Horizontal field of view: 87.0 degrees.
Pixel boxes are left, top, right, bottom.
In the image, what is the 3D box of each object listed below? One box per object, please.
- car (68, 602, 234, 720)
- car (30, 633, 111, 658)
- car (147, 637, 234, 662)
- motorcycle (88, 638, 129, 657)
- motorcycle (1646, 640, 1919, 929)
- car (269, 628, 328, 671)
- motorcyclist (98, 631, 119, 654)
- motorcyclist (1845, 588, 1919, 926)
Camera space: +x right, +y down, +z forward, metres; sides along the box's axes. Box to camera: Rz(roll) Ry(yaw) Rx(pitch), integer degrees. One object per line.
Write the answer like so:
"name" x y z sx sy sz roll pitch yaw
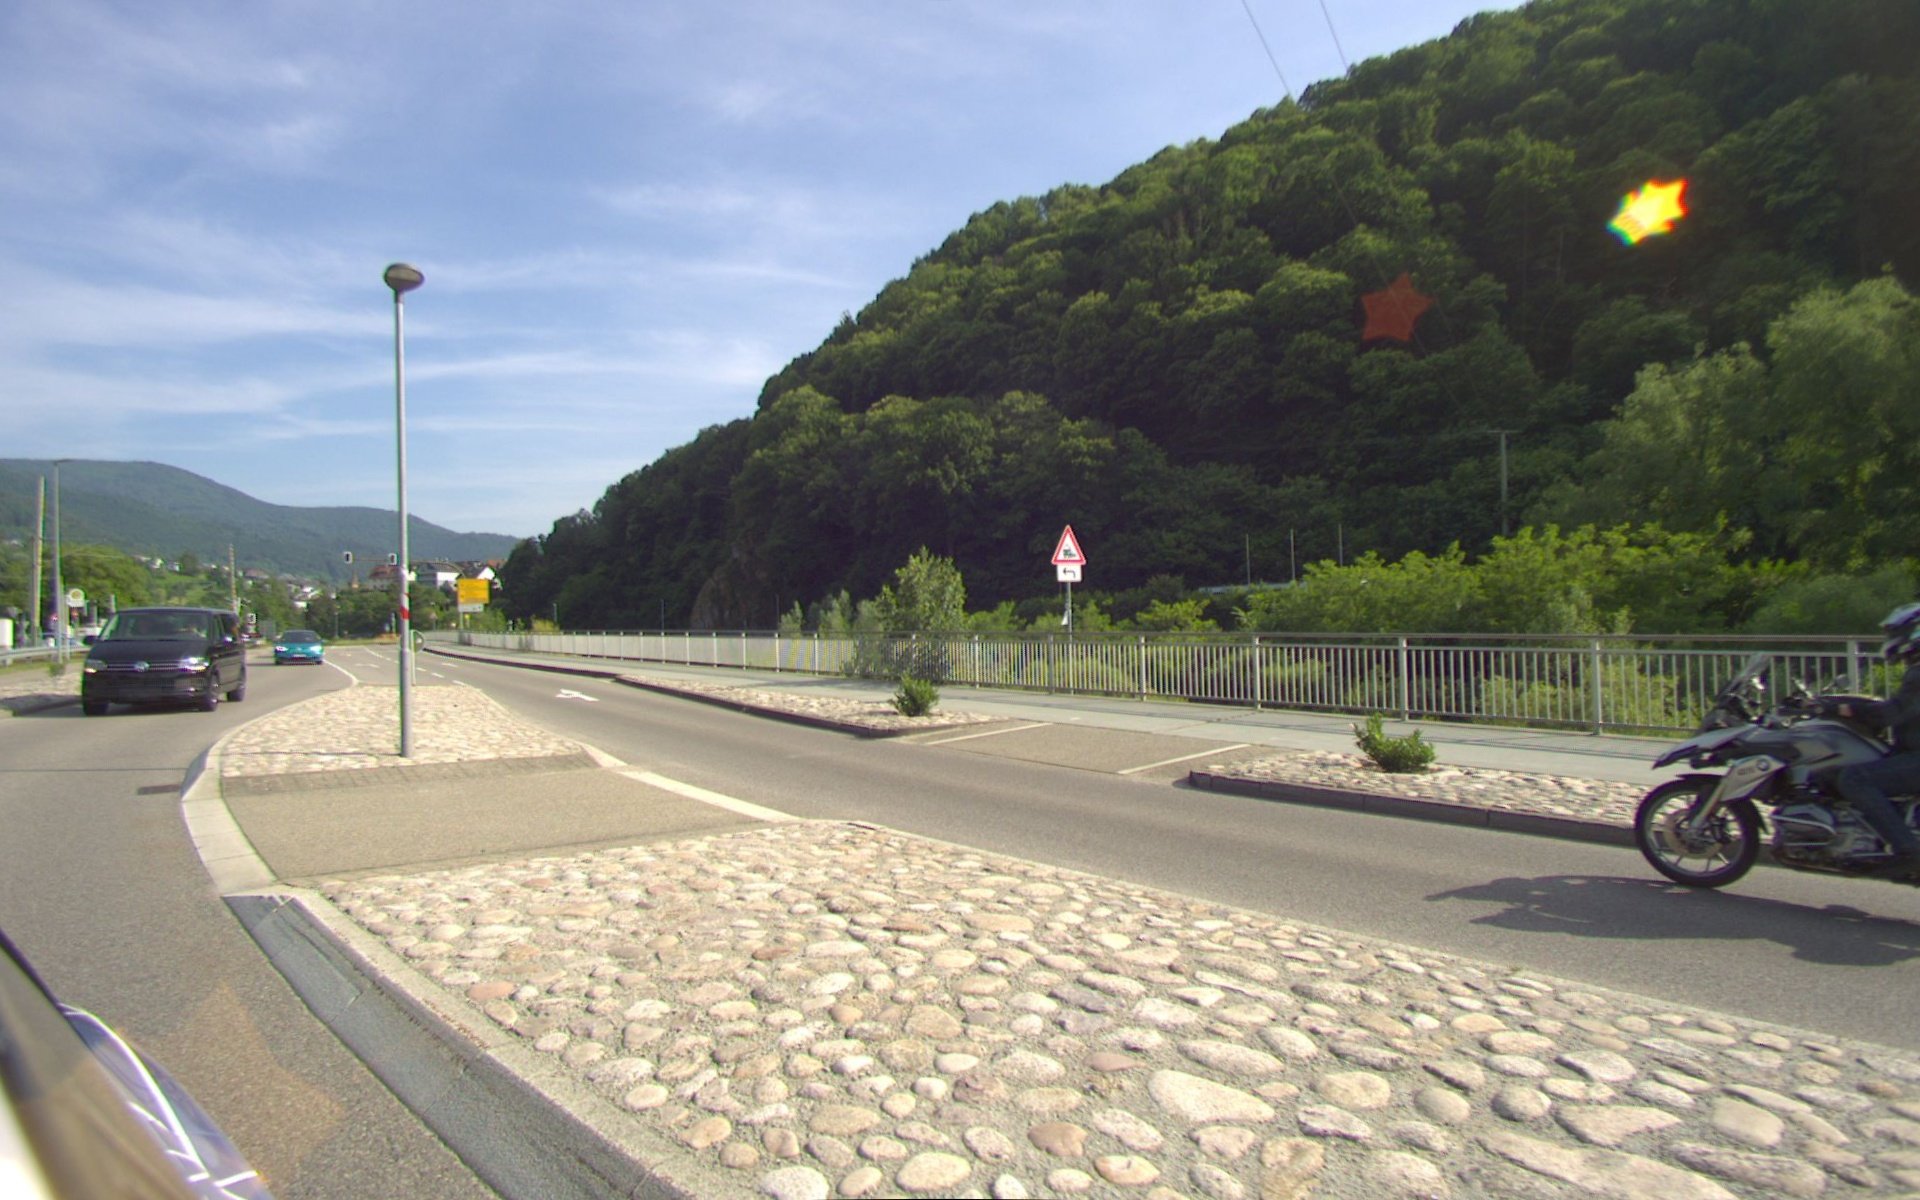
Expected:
"car" -15.178 1.102 19.249 1.835 1.962 4.651 2 -3 -31
"car" -65.545 3.342 74.635 4.055 1.699 1.840 -2 -2 -19
"car" -55.332 3.577 72.802 4.674 1.672 1.930 0 -6 0
"motorcycle" -60.489 3.355 71.914 2.065 1.264 0.801 -2 -2 -14
"motorcycle" 5.105 0.938 5.333 0.763 1.433 2.322 1 -2 -39
"car" -29.874 2.178 45.798 1.852 1.752 4.529 0 0 -28
"motorcyclist" -60.547 3.034 71.934 0.894 1.609 0.767 -2 -2 -15
"motorcyclist" 5.162 0.790 5.242 0.753 1.691 0.728 1 -1 -38
